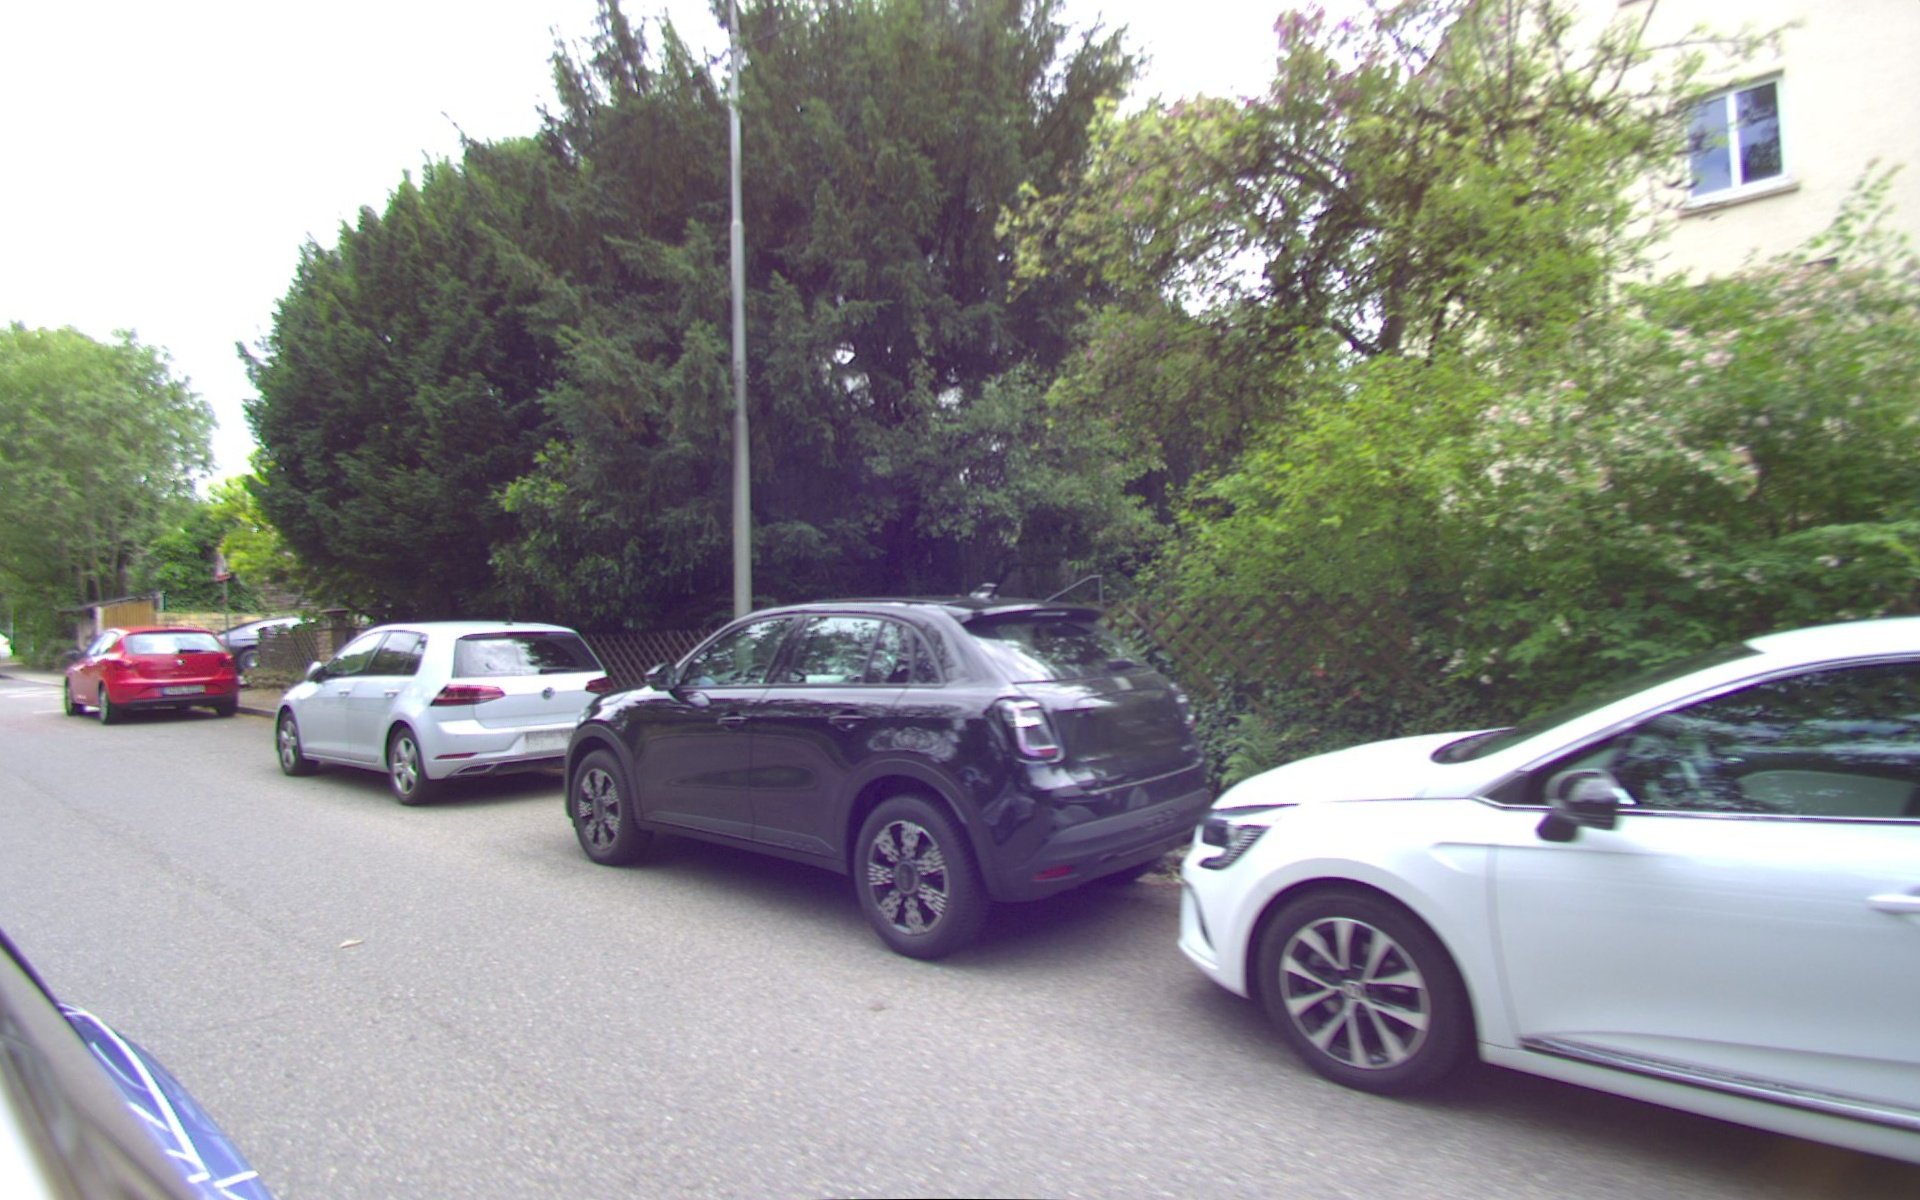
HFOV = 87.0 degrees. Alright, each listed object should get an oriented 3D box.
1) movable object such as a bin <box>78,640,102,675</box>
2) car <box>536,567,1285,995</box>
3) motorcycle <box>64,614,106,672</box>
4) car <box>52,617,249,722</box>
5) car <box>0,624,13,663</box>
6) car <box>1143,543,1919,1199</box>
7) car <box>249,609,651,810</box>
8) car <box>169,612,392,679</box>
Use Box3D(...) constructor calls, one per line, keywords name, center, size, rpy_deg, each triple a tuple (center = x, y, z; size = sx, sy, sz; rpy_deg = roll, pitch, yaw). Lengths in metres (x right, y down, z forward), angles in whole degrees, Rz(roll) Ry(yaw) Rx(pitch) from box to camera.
Box3D(name="movable object such as a bin", center=(-23.789, 1.564, 27.672), size=(0.556, 0.931, 0.362), rpy_deg=(-2, -5, 43))
Box3D(name="car", center=(-0.516, 0.687, 5.575), size=(4.012, 1.511, 1.765), rpy_deg=(-2, -1, 41))
Box3D(name="motorcycle", center=(-24.893, 1.225, 28.786), size=(1.909, 1.594, 0.478), rpy_deg=(-2, -1, 35))
Box3D(name="car", center=(-12.923, 1.040, 16.091), size=(3.783, 1.450, 1.719), rpy_deg=(-2, -1, 40))
Box3D(name="car", center=(-43.901, 1.913, 43.328), size=(1.997, 1.701, 4.650), rpy_deg=(-2, -1, 38))
Box3D(name="car", center=(2.718, 0.631, 2.788), size=(4.012, 1.511, 1.765), rpy_deg=(-2, -1, 41))
Box3D(name="car", center=(-4.888, 0.861, 9.427), size=(4.319, 1.450, 1.766), rpy_deg=(-2, -1, 40))
Box3D(name="car", center=(-17.961, 1.164, 26.921), size=(1.889, 1.397, 4.559), rpy_deg=(-3, 0, 40))
